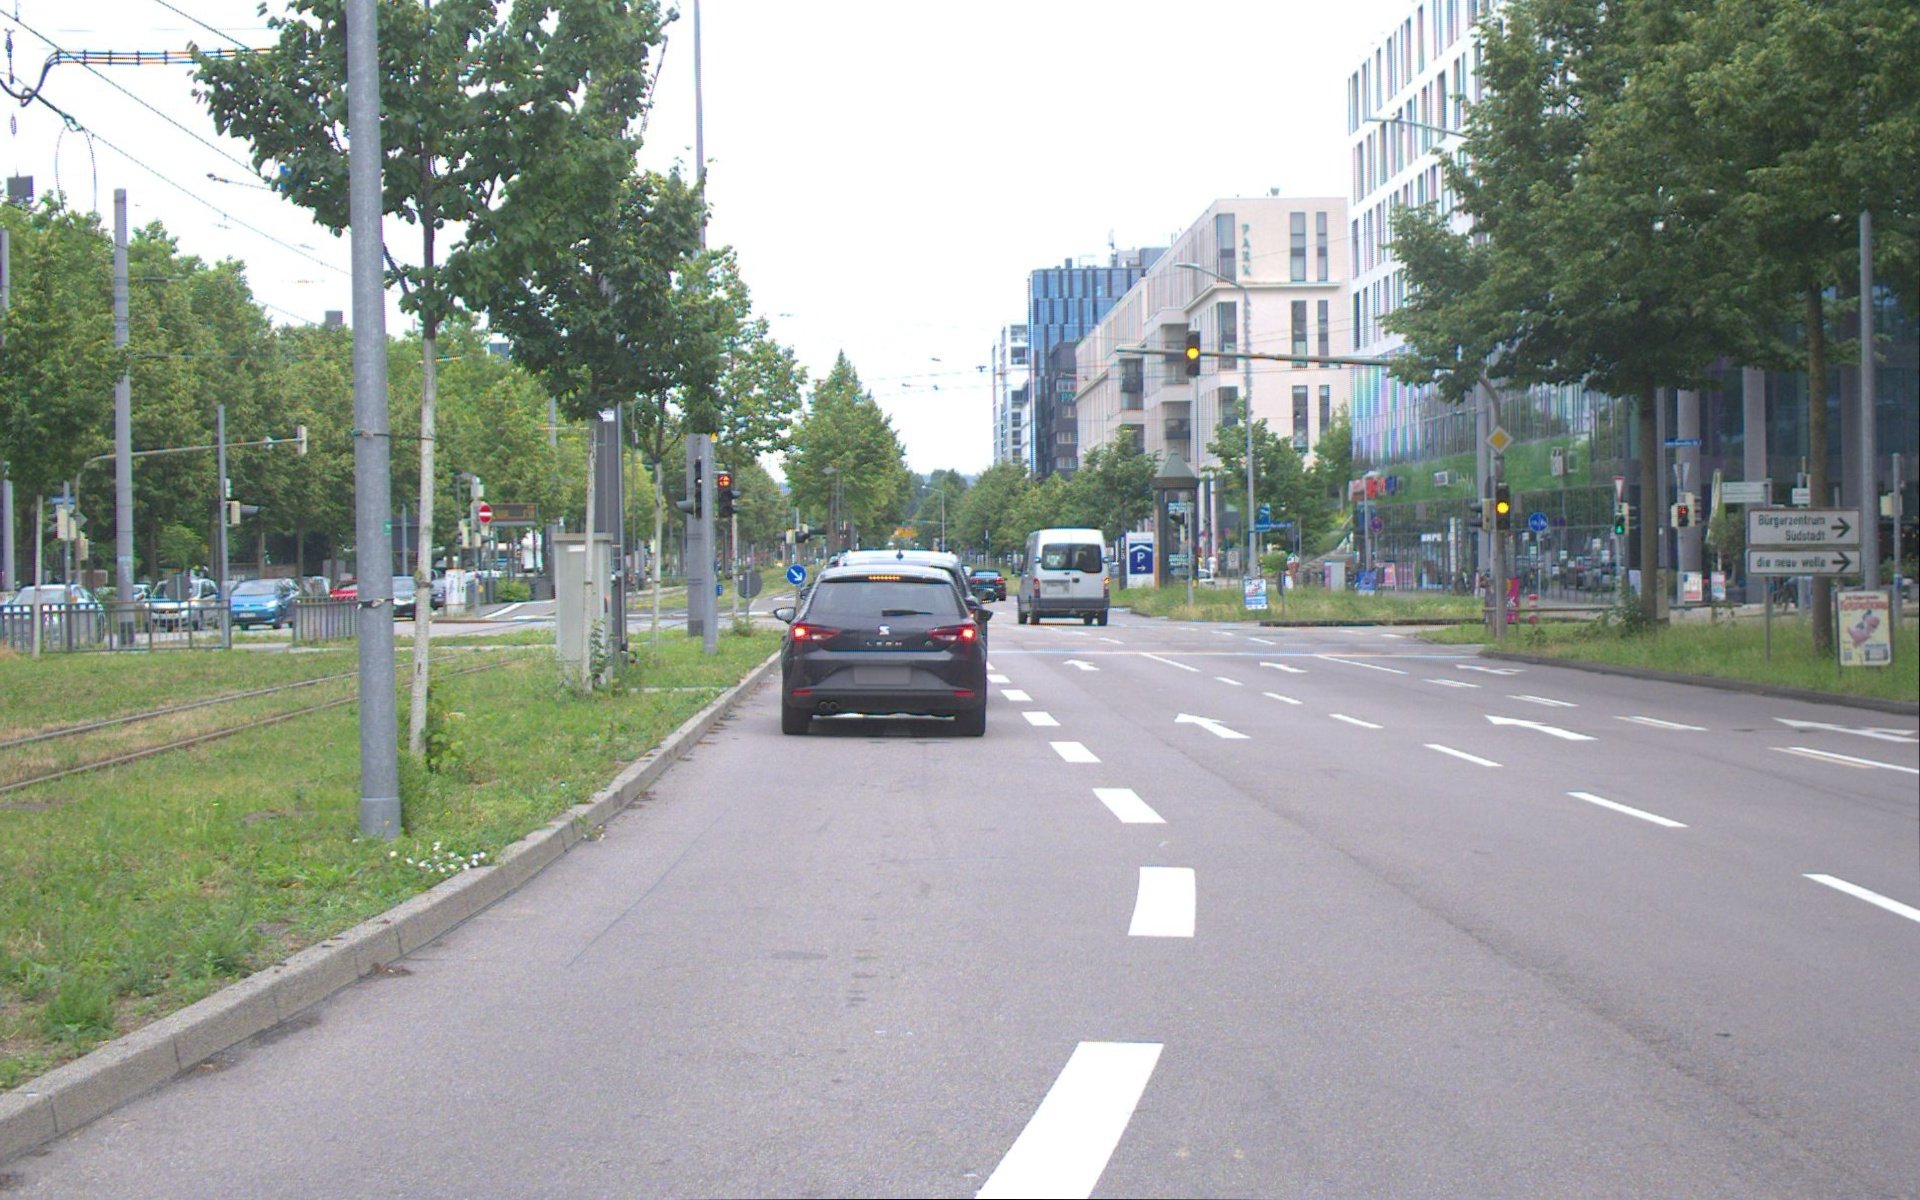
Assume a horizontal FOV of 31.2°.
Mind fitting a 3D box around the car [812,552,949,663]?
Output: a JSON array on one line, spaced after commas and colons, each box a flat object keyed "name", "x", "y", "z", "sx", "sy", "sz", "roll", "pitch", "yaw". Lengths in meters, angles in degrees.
[{"name": "car", "x": -1.233, "y": 0.090, "z": 55.108, "sx": 1.993, "sy": 1.676, "sz": 4.000, "roll": 1, "pitch": 1, "yaw": 1}]

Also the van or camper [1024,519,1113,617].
[{"name": "van or camper", "x": 2.765, "y": -0.863, "z": 88.636, "sx": 2.109, "sy": 2.348, "sz": 4.923, "roll": 0, "pitch": 3, "yaw": 0}]

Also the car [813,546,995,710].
[{"name": "car", "x": -0.591, "y": 0.254, "z": 36.428, "sx": 1.802, "sy": 1.619, "sz": 4.000, "roll": -1, "pitch": 1, "yaw": -1}]

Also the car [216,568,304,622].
[{"name": "car", "x": -21.351, "y": -0.160, "z": 105.014, "sx": 1.964, "sy": 1.583, "sz": 4.689, "roll": 0, "pitch": 1, "yaw": -3}]

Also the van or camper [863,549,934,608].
[{"name": "van or camper", "x": -1.767, "y": -0.643, "z": 100.298, "sx": 1.993, "sy": 1.610, "sz": 4.789, "roll": 0, "pitch": 2, "yaw": 0}]

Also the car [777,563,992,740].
[{"name": "car", "x": -0.680, "y": 0.404, "z": 30.203, "sx": 1.743, "sy": 1.412, "sz": 4.000, "roll": 1, "pitch": 1, "yaw": -2}]

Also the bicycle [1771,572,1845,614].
[{"name": "bicycle", "x": 22.489, "y": -0.190, "z": 91.165, "sx": 1.792, "sy": 1.082, "sz": 0.618, "roll": -1, "pitch": 1, "yaw": 1}]

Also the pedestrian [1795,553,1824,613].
[{"name": "pedestrian", "x": 22.531, "y": -0.453, "z": 91.159, "sx": 0.614, "sy": 1.599, "sz": 0.618, "roll": -1, "pitch": 1, "yaw": 2}]

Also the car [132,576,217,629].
[{"name": "car", "x": -24.598, "y": 0.070, "z": 107.822, "sx": 1.796, "sy": 1.565, "sz": 4.579, "roll": 2, "pitch": 0, "yaw": -3}]

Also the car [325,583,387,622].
[{"name": "car", "x": -25.329, "y": 0.095, "z": 144.203, "sx": 1.796, "sy": 1.565, "sz": 4.328, "roll": -1, "pitch": 1, "yaw": 0}]

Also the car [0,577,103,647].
[{"name": "car", "x": -21.481, "y": 0.259, "z": 80.980, "sx": 1.728, "sy": 1.440, "sz": 4.923, "roll": -3, "pitch": 1, "yaw": -5}]
